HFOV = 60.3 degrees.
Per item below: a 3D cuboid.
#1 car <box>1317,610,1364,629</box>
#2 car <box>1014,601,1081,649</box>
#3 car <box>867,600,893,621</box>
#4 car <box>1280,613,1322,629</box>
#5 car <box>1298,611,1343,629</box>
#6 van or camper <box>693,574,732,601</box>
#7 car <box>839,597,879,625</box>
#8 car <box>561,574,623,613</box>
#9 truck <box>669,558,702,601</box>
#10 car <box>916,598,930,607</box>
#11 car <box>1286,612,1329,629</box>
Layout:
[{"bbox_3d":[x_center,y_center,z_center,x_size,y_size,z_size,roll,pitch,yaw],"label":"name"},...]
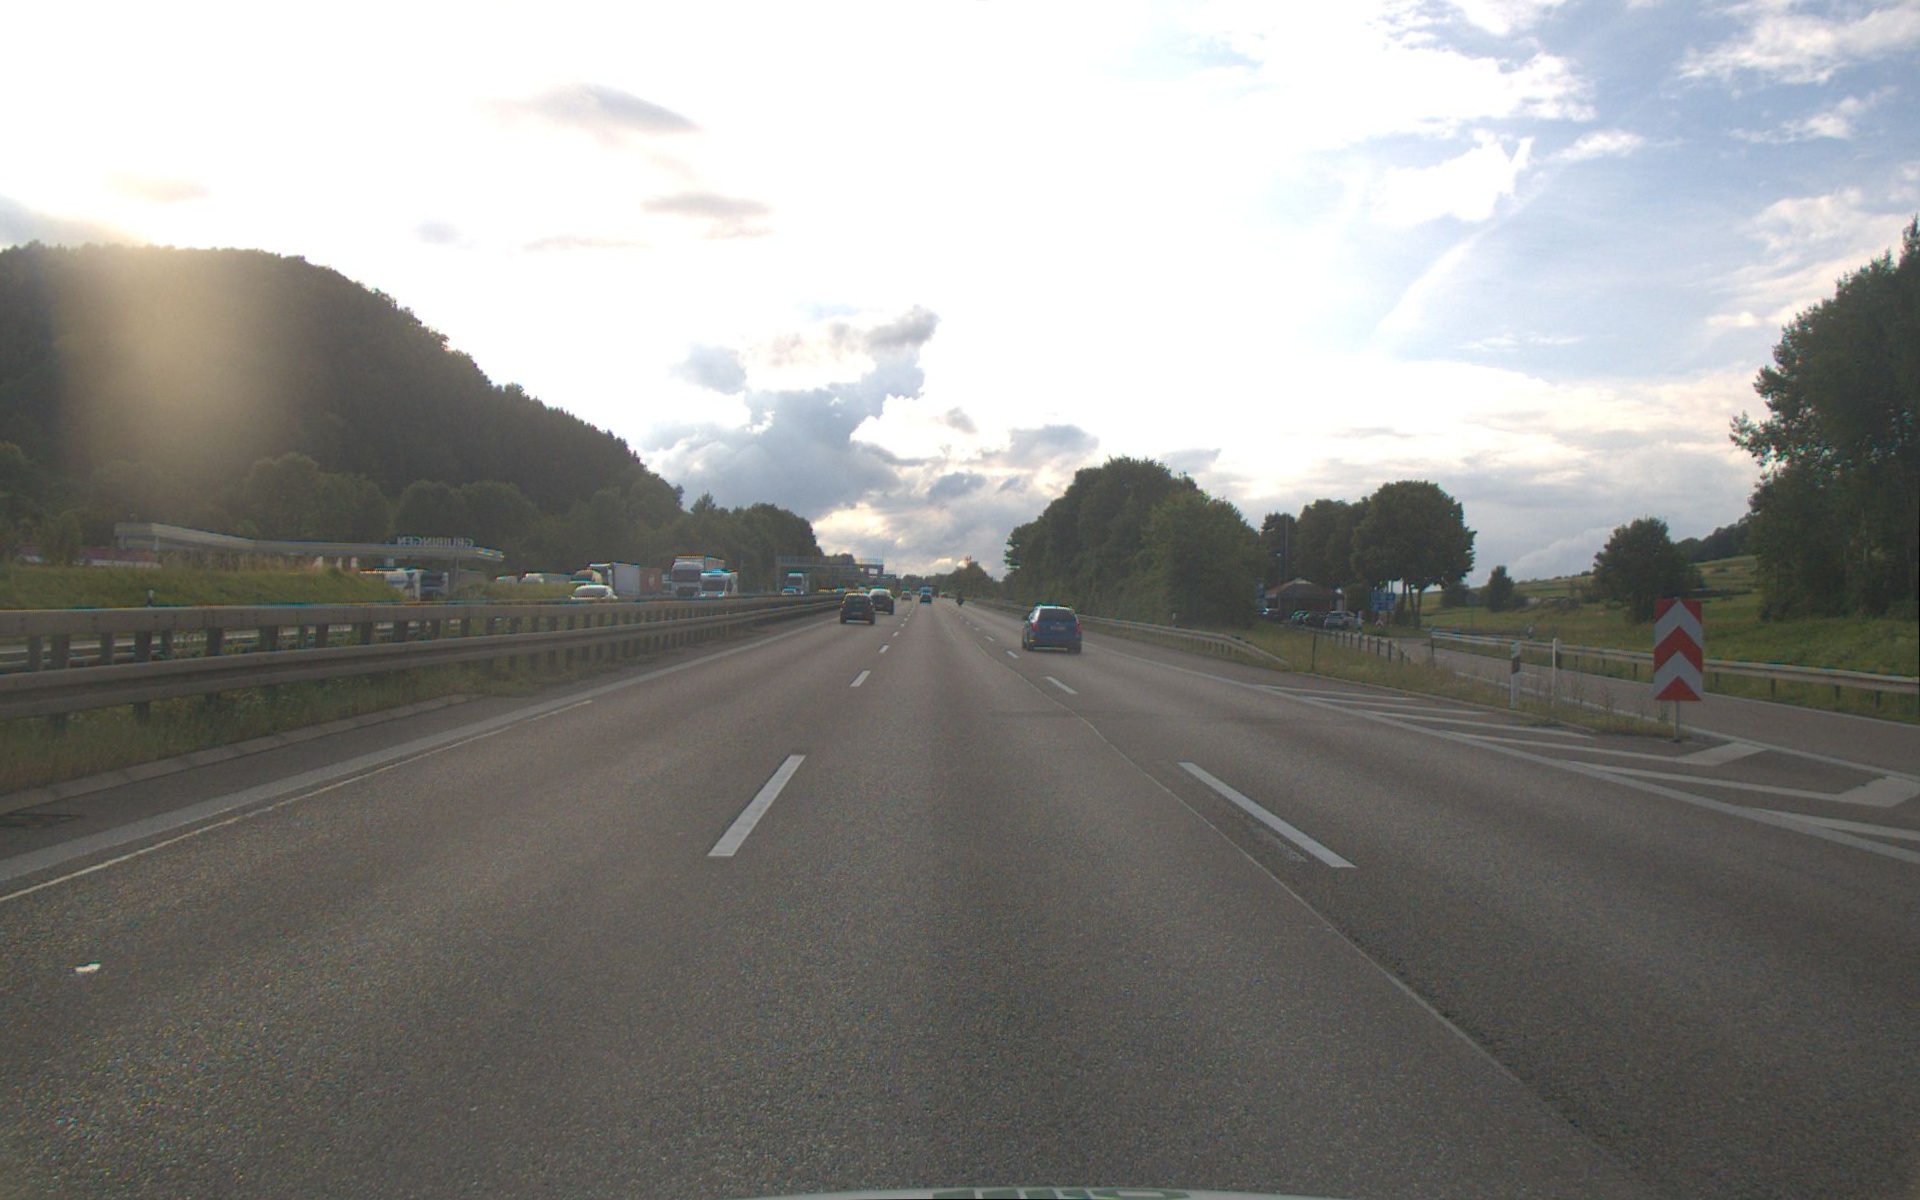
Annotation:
[{"bbox_3d":[33.346,1.719,144.872,4.272,1.583,1.960,1,-2,-42],"label":"car"},{"bbox_3d":[2.775,0.775,53.112,1.731,1.458,3.998,-1,0,-3],"label":"car"},{"bbox_3d":[-5.615,0.747,116.657,1.533,1.404,4.001,-1,0,1],"label":"car"},{"bbox_3d":[33.609,2.065,162.922,4.272,1.583,1.960,1,-2,-42],"label":"car"},{"bbox_3d":[32.972,1.839,151.284,4.272,1.583,1.960,1,-2,-42],"label":"car"},{"bbox_3d":[-18.234,-0.898,121.868,2.035,1.964,4.345,-1,0,2],"label":"van or camper"},{"bbox_3d":[-4.939,0.525,81.207,1.506,1.371,3.678,0,0,3],"label":"car"},{"bbox_3d":[-16.568,-0.269,74.608,1.953,1.652,3.998,0,-1,-1],"label":"car"},{"bbox_3d":[-23.145,-1.687,139.594,1.953,3.473,6.735,0,-1,-2],"label":"truck"},{"bbox_3d":[-5.336,0.361,238.314,1.717,1.243,3.995,-1,0,-5],"label":"car"},{"bbox_3d":[33.390,1.991,159.047,4.272,1.583,1.960,1,-2,-42],"label":"car"}]
